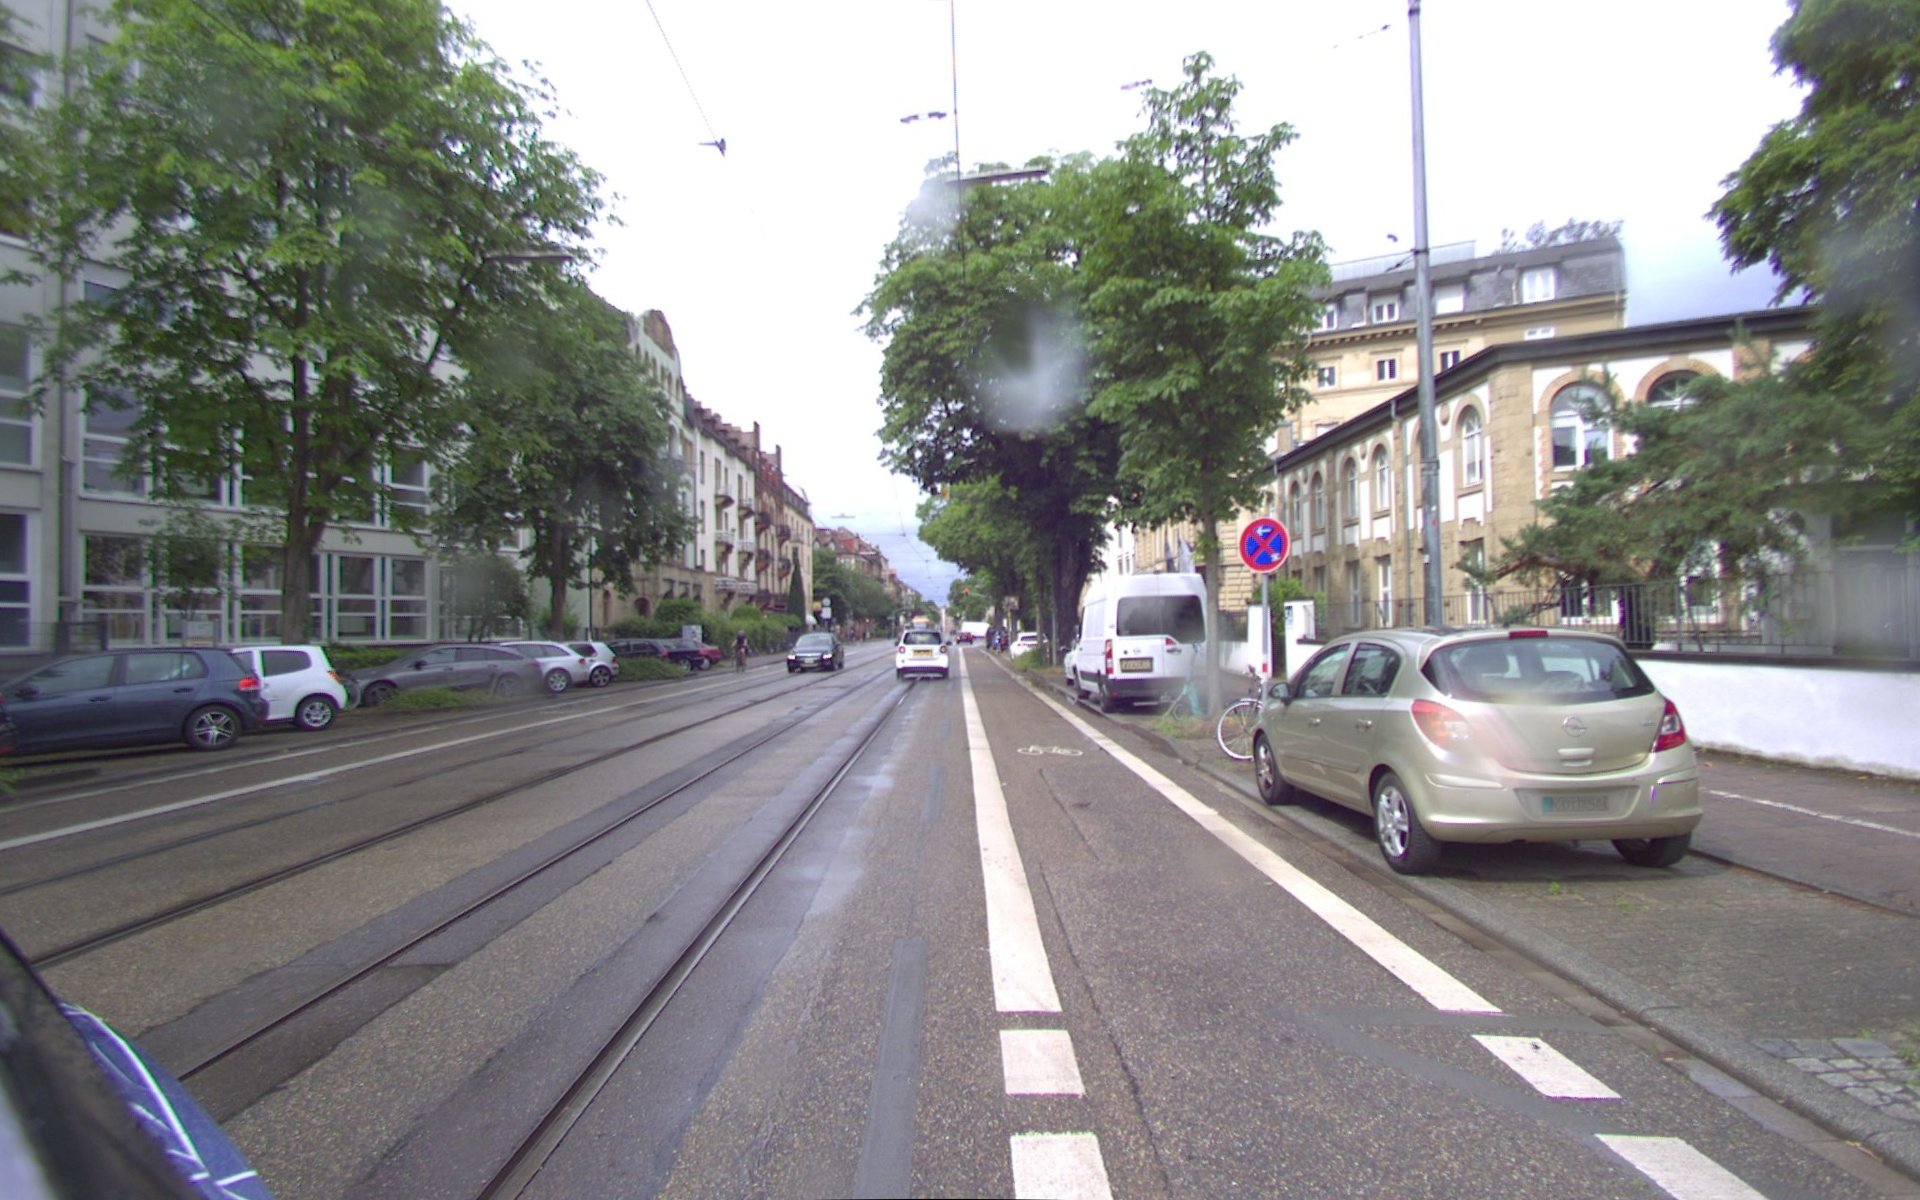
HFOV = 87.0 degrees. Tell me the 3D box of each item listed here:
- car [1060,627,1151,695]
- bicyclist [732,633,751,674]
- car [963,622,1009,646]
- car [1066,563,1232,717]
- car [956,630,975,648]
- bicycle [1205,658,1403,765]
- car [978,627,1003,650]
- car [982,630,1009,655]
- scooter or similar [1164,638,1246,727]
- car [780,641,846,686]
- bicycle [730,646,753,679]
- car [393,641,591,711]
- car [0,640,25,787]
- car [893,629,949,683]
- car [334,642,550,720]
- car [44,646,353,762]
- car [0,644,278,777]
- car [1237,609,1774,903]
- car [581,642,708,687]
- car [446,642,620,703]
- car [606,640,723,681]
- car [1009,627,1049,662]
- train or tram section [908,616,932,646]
[{"bbox_3d":[3.702,1.549,26.265,1.888,1.562,3.368,-3,-3,2],"label":"car"},{"bbox_3d":[-8.952,2.178,41.435,0.635,1.629,0.674,-3,-1,-5],"label":"bicyclist"},{"bbox_3d":[3.382,4.484,133.132,5.633,2.852,2.760,-2,-1,-8],"label":"car"},{"bbox_3d":[3.510,0.781,19.979,2.110,2.529,5.273,-3,-2,0],"label":"car"},{"bbox_3d":[0.638,4.371,114.310,1.824,1.900,3.919,-3,-1,5],"label":"car"},{"bbox_3d":[3.790,1.224,11.250,1.900,0.994,0.685,-4,-1,-1],"label":"bicycle"},{"bbox_3d":[2.558,3.267,86.197,1.840,1.766,4.119,-3,-1,-1],"label":"car"},{"bbox_3d":[2.647,3.186,76.225,1.733,1.689,4.119,-3,-1,-1],"label":"car"},{"bbox_3d":[3.697,1.227,15.264,1.128,1.287,0.428,0,-5,-25],"label":"scooter or similar"},{"bbox_3d":[-5.710,2.432,39.722,1.971,1.492,4.765,-3,-2,-2],"label":"car"},{"bbox_3d":[-8.937,2.539,41.410,0.635,1.275,1.871,-3,-1,-5],"label":"bicycle"},{"bbox_3d":[-12.285,1.948,26.731,4.329,1.463,1.887,-2,-1,-44],"label":"car"},{"bbox_3d":[-12.314,1.315,10.076,1.879,1.567,4.308,-5,-2,44],"label":"car"},{"bbox_3d":[-1.193,1.714,31.693,1.592,1.526,2.607,-3,-1,0],"label":"car"},{"bbox_3d":[-12.079,1.840,23.742,4.144,1.463,1.815,-2,-1,-44],"label":"car"},{"bbox_3d":[-12.368,1.607,16.578,1.779,1.465,3.825,-4,-2,45],"label":"car"},{"bbox_3d":[-11.693,1.447,13.654,1.823,1.465,3.825,-4,-2,45],"label":"car"},{"bbox_3d":[3.409,0.892,7.278,1.666,1.471,3.832,-3,-2,0],"label":"car"},{"bbox_3d":[-12.394,2.490,39.832,4.368,1.463,1.910,-2,-1,-37],"label":"car"},{"bbox_3d":[-12.499,2.086,29.807,4.307,1.463,1.907,-2,-1,-44],"label":"car"},{"bbox_3d":[-12.512,2.538,42.955,4.368,1.463,1.910,-2,-1,-37],"label":"car"},{"bbox_3d":[3.262,2.104,48.435,1.771,1.509,4.027,-3,-1,3],"label":"car"},{"bbox_3d":[-5.547,4.291,142.077,2.980,3.902,9.573,-3,-1,0],"label":"train or tram section"}]
